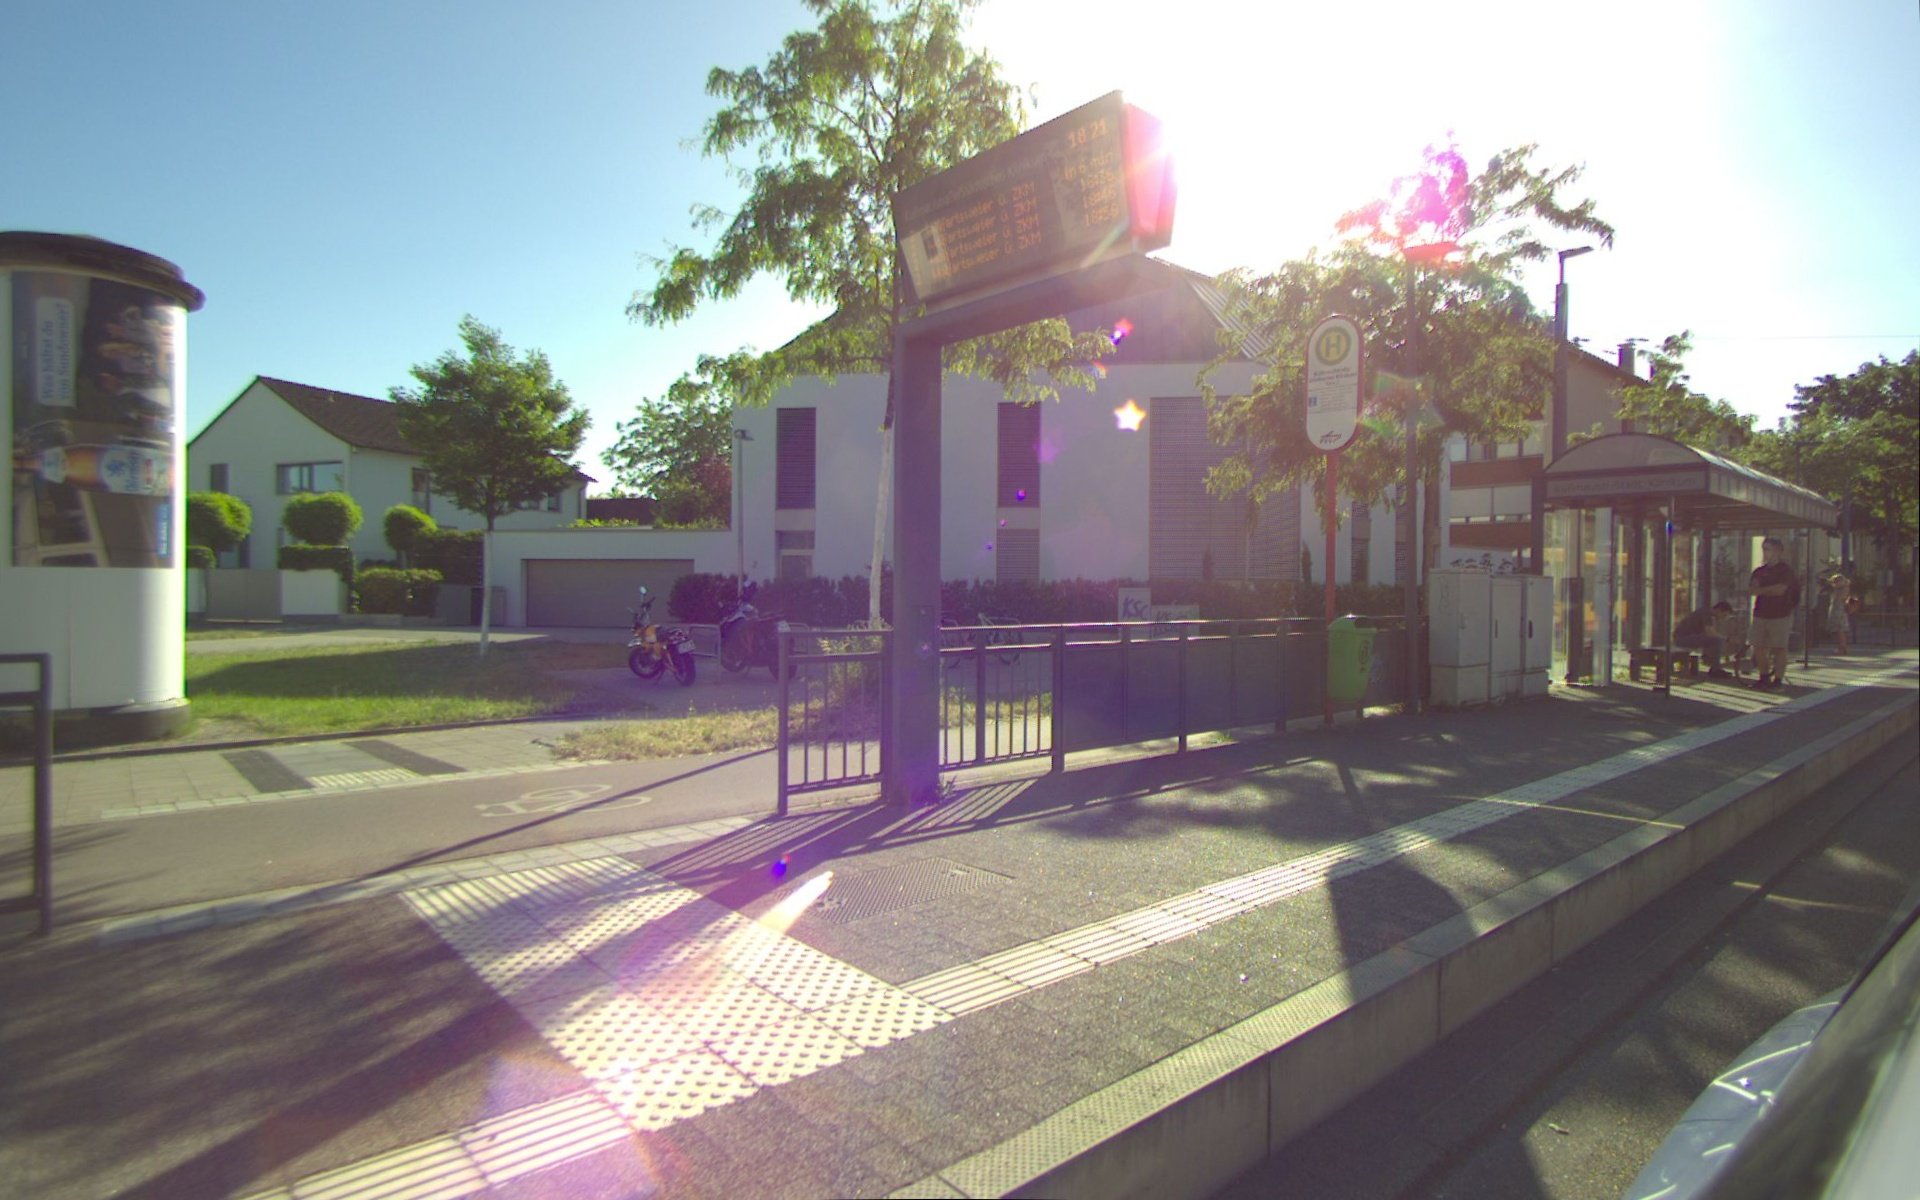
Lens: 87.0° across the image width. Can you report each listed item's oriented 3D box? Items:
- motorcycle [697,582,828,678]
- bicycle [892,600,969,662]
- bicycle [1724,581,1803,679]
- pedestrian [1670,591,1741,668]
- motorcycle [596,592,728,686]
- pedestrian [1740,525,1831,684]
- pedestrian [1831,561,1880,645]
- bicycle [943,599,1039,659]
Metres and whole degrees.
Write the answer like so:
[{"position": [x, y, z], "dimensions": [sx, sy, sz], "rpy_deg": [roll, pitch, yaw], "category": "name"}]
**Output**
[{"position": [-2.926, 0.395, 14.870], "dimensions": [2.077, 1.290, 0.848], "rpy_deg": [2, 1, 44], "category": "motorcycle"}, {"position": [-0.518, 0.515, 17.312], "dimensions": [1.470, 0.991, 0.409], "rpy_deg": [1, 1, 44], "category": "bicycle"}, {"position": [11.010, 0.375, 13.844], "dimensions": [1.935, 1.245, 0.620], "rpy_deg": [0, 0, -45], "category": "bicycle"}, {"position": [11.233, 0.433, 15.253], "dimensions": [0.647, 1.131, 0.739], "rpy_deg": [0, -1, -41], "category": "pedestrian"}, {"position": [-4.114, 0.487, 13.889], "dimensions": [1.998, 1.172, 0.848], "rpy_deg": [2, 1, 44], "category": "motorcycle"}, {"position": [10.185, 0.055, 12.485], "dimensions": [0.716, 1.877, 0.712], "rpy_deg": [0, -1, -39], "category": "pedestrian"}, {"position": [18.855, 0.058, 21.318], "dimensions": [0.679, 1.726, 0.672], "rpy_deg": [0, -1, -42], "category": "pedestrian"}, {"position": [0.535, 0.505, 18.329], "dimensions": [1.897, 0.991, 0.483], "rpy_deg": [2, 1, 44], "category": "bicycle"}]
